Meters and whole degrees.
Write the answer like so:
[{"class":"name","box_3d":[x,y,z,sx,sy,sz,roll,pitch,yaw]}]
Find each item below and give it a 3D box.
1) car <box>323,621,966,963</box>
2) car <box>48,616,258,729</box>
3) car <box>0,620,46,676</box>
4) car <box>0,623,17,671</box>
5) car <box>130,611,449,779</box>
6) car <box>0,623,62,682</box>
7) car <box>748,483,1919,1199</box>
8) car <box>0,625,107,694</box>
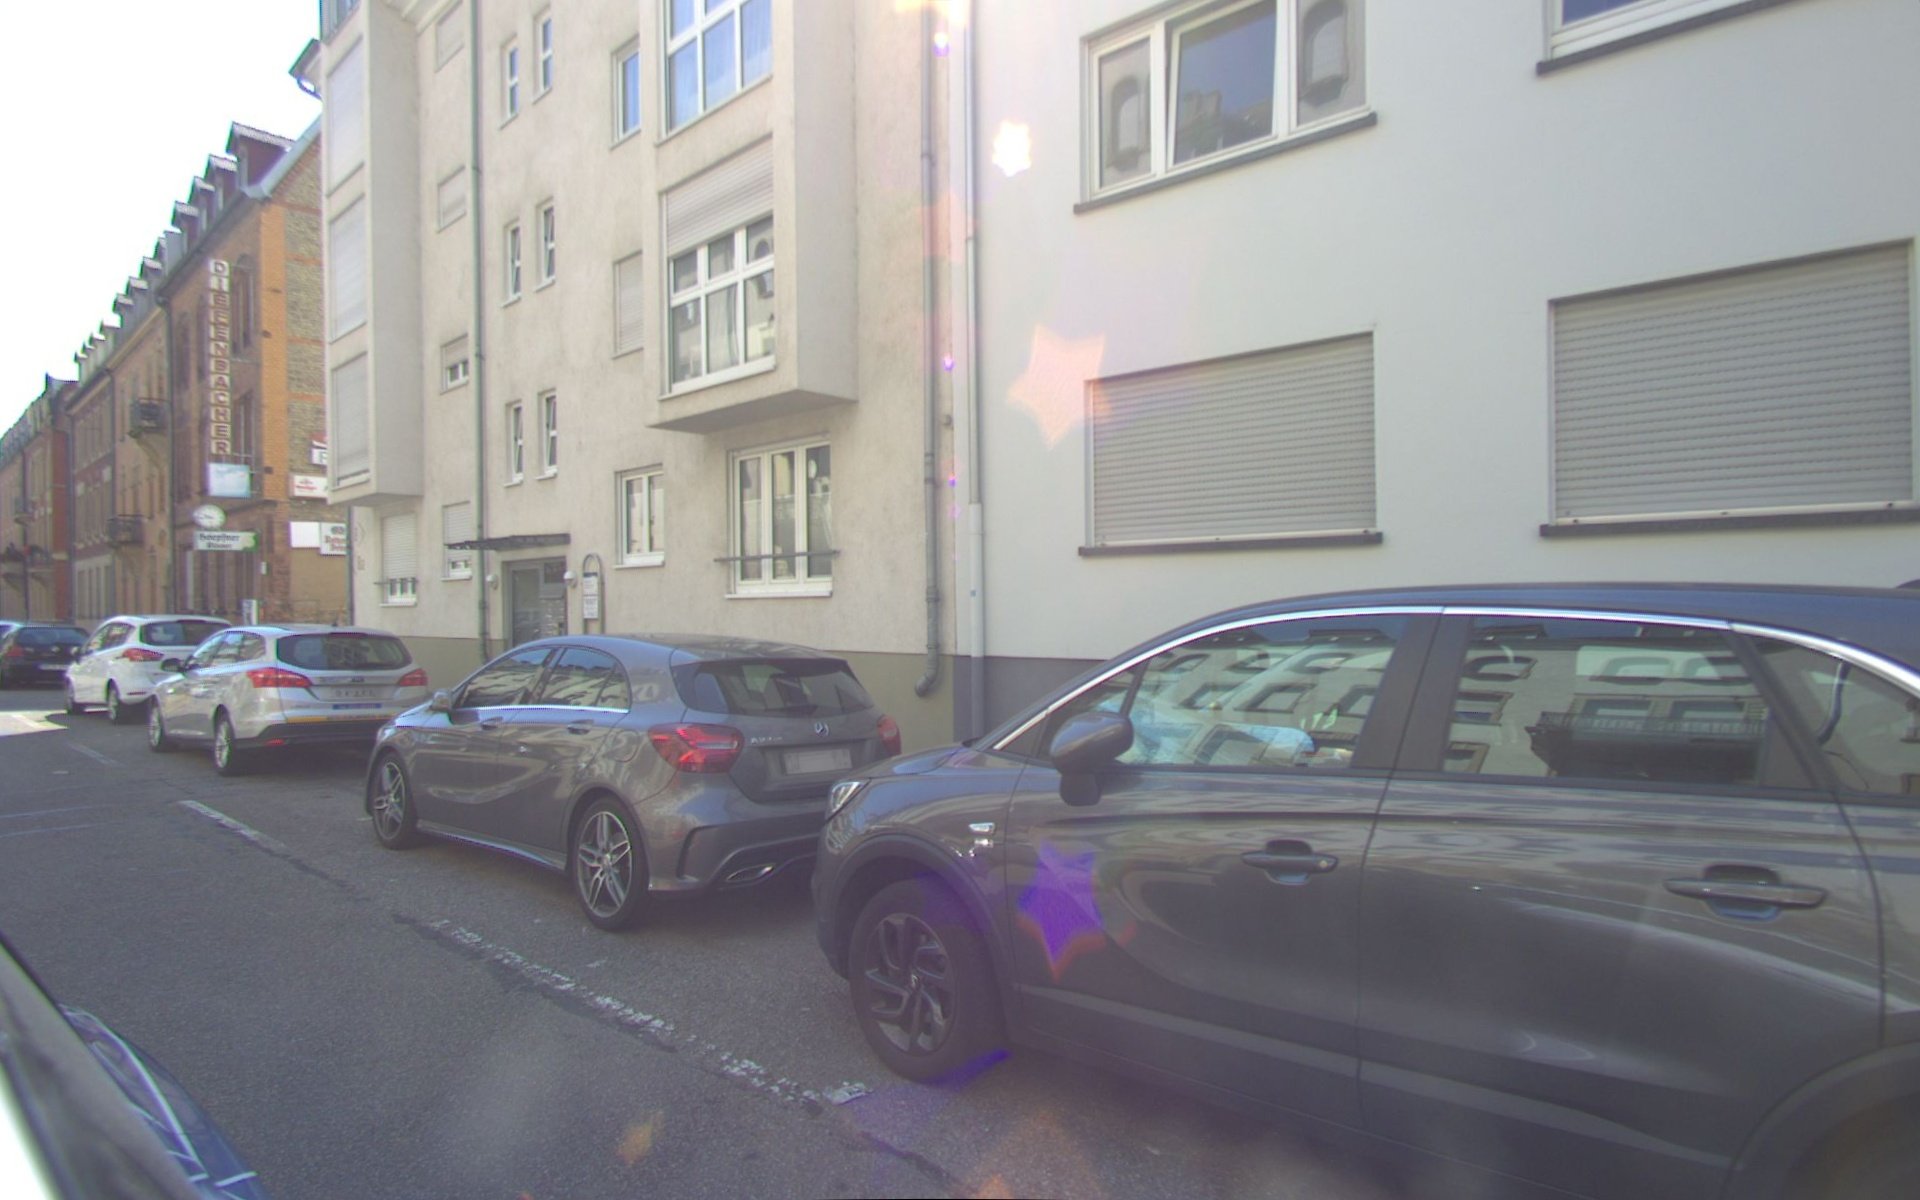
[{"class":"car","box_3d":[-2.188,0.857,6.315,4.345,1.404,1.747,-1,-2,40]},{"class":"car","box_3d":[-12.695,1.075,15.860,3.847,1.561,1.613,-1,-4,38]},{"class":"car","box_3d":[-28.278,1.371,29.743,3.521,1.555,1.432,-1,-4,38]},{"class":"car","box_3d":[-31.634,1.462,32.500,3.522,1.484,1.432,-1,-4,39]},{"class":"car","box_3d":[-7.496,0.906,11.147,4.345,1.506,1.713,-1,-3,40]},{"class":"car","box_3d":[-24.773,1.333,26.352,3.677,1.440,1.611,-1,-4,42]},{"class":"car","box_3d":[1.290,0.668,2.917,3.974,1.656,1.587,-1,-2,40]},{"class":"car","box_3d":[-20.953,1.330,23.051,3.836,1.440,1.758,-1,-4,42]}]
